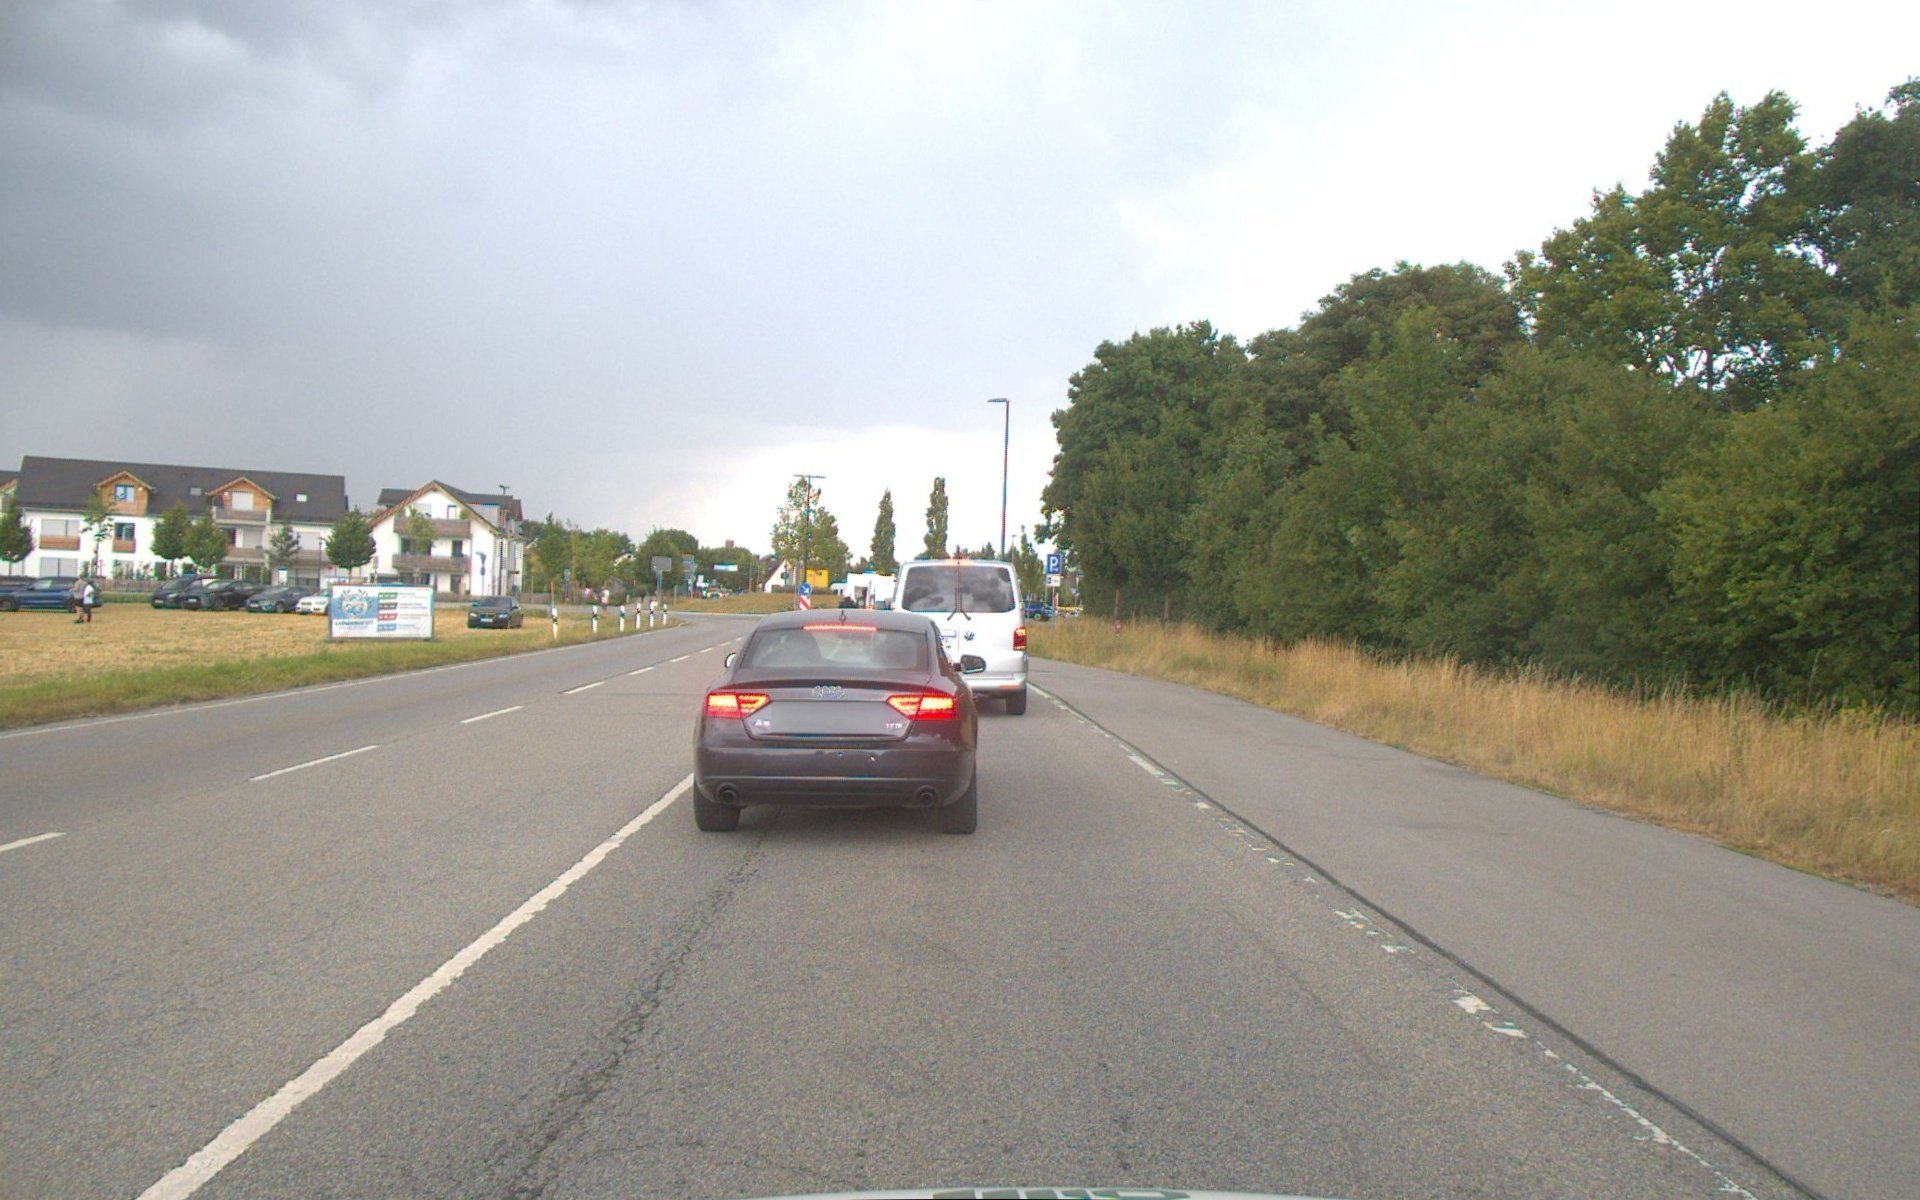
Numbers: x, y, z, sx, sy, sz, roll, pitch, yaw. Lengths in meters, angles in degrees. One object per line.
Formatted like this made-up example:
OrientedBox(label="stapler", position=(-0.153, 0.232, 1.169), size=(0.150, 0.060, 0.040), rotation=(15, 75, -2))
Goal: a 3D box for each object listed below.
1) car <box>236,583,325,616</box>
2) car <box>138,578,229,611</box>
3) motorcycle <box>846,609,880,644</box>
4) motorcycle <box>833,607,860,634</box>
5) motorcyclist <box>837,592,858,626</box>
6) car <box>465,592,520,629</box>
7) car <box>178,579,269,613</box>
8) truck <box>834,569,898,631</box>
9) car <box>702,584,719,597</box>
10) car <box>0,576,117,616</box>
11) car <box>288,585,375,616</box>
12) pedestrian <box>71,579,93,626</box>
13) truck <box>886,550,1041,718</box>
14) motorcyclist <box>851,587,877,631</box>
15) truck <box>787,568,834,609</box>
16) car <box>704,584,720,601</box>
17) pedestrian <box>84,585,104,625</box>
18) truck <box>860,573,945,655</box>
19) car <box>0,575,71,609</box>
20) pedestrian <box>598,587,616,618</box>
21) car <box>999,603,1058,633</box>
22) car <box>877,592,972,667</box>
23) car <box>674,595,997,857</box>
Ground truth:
OrientedBox(label="car", position=(-34.595, -0.014, 84.339), size=(1.951, 1.562, 4.214), rotation=(1, 0, 17))
OrientedBox(label="car", position=(-40.775, -0.279, 86.951), size=(1.951, 1.657, 4.214), rotation=(1, 0, 17))
OrientedBox(label="motorcycle", position=(-3.201, 0.864, 54.757), size=(0.901, 1.113, 2.189), rotation=(2, 0, 1))
OrientedBox(label="motorcycle", position=(-4.678, 0.833, 68.324), size=(0.925, 1.037, 2.283), rotation=(2, 0, -1))
OrientedBox(label="motorcyclist", position=(-4.662, 0.368, 68.382), size=(0.769, 1.380, 0.854), rotation=(2, 0, -1))
OrientedBox(label="car", position=(-20.197, 0.443, 71.556), size=(1.958, 1.467, 3.989), rotation=(2, 1, -12))
OrientedBox(label="car", position=(-37.699, -0.175, 84.719), size=(1.951, 1.657, 4.214), rotation=(1, 0, 17))
OrientedBox(label="truck", position=(-4.577, -0.004, 79.537), size=(2.577, 2.785, 5.857), rotation=(2, 0, -8))
OrientedBox(label="car", position=(-33.171, -1.220, 219.804), size=(1.955, 1.670, 3.995), rotation=(2, 0, -5))
OrientedBox(label="car", position=(-41.963, -0.170, 76.938), size=(4.649, 1.727, 1.987), rotation=(2, 0, -22))
OrientedBox(label="car", position=(-31.879, 0.034, 83.992), size=(1.951, 1.471, 4.214), rotation=(1, 0, 17))
OrientedBox(label="pedestrian", position=(-34.424, 0.113, 64.831), size=(0.539, 1.817, 0.676), rotation=(1, 0, -13))
OrientedBox(label="truck", position=(0.010, 0.414, 22.751), size=(1.865, 2.033, 4.627), rotation=(1, 0, -1))
OrientedBox(label="motorcyclist", position=(-3.181, 0.289, 54.721), size=(0.756, 1.407, 0.820), rotation=(2, 0, 0))
OrientedBox(label="truck", position=(-14.160, -1.110, 155.904), size=(3.511, 3.640, 9.933), rotation=(2, 0, -10))
OrientedBox(label="car", position=(-31.635, -0.998, 210.781), size=(1.956, 2.049, 3.992), rotation=(2, 0, -8))
OrientedBox(label="pedestrian", position=(-34.428, 0.210, 65.724), size=(0.581, 1.582, 0.622), rotation=(1, 0, -20))
OrientedBox(label="truck", position=(-1.522, 0.369, 45.361), size=(2.149, 2.049, 5.083), rotation=(2, 0, -1))
OrientedBox(label="car", position=(-50.214, -0.466, 88.353), size=(4.560, 1.727, 1.987), rotation=(2, 0, -22))
OrientedBox(label="pedestrian", position=(-18.814, 0.123, 88.140), size=(0.687, 1.613, 0.656), rotation=(1, 0, 29))
OrientedBox(label="car", position=(5.127, 1.339, 122.980), size=(3.904, 2.049, 2.001), rotation=(2, 0, 19))
OrientedBox(label="car", position=(-0.799, 0.623, 36.448), size=(1.953, 1.511, 3.998), rotation=(1, 0, -2))
OrientedBox(label="car", position=(-0.730, 0.722, 11.619), size=(1.837, 1.479, 4.176), rotation=(1, 0, -1))
